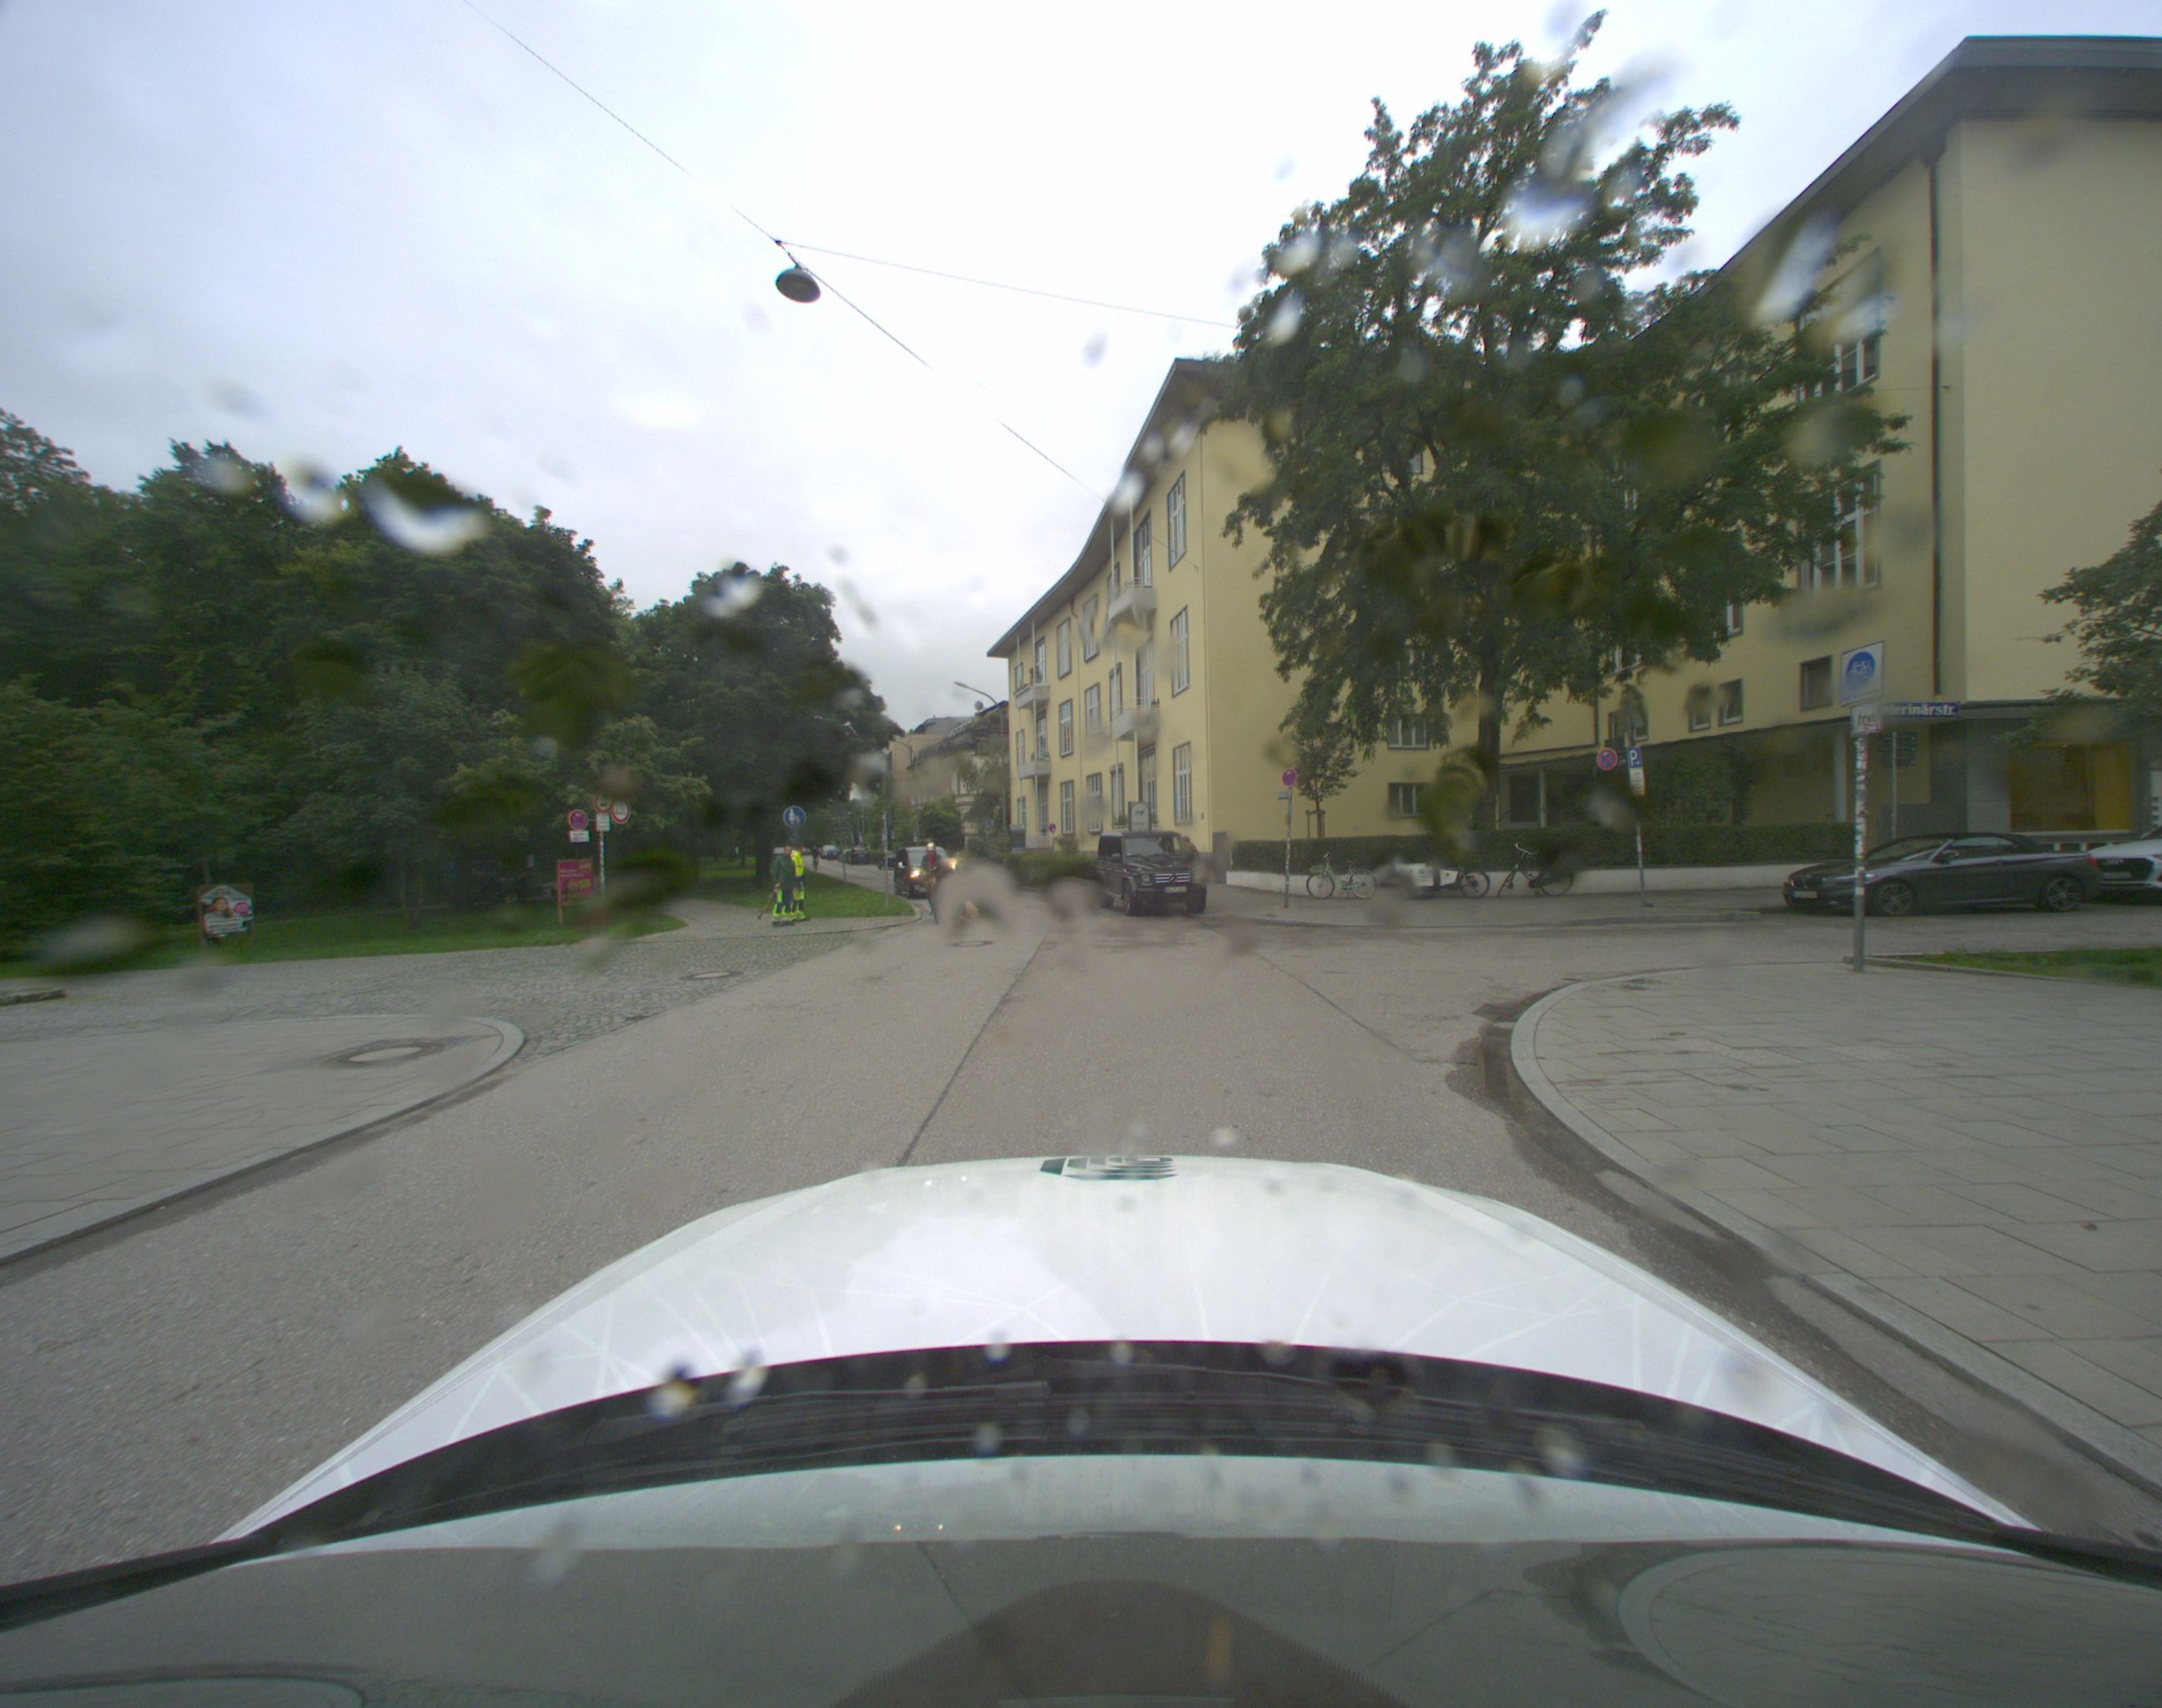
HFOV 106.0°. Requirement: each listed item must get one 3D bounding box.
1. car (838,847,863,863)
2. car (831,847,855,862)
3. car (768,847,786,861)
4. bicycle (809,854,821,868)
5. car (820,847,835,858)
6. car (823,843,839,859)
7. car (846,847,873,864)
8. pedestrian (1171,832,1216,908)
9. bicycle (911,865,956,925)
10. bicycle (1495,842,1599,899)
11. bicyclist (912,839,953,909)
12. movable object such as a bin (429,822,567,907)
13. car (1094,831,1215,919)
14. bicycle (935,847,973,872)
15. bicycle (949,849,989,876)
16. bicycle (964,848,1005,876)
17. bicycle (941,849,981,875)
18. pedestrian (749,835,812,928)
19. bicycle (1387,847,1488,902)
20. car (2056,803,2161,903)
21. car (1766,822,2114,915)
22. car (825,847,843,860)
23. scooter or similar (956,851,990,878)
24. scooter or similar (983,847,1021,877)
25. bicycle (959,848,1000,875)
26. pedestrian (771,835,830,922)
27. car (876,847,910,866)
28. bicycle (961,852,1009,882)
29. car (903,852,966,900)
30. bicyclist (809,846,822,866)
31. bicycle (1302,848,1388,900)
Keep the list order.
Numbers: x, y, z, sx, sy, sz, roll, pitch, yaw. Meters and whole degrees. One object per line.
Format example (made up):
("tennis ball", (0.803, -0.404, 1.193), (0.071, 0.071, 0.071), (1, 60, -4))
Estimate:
("car", (-24.858, 0.093, 87.798), (2.003, 1.606, 3.967), (-2, 0, -25))
("car", (-27.188, 0.051, 92.894), (2.003, 1.606, 3.967), (-2, 0, -25))
("car", (-39.066, 0.036, 104.534), (2.002, 1.691, 3.970), (-3, 1, -23))
("bicycle", (-20.107, 0.511, 61.540), (0.642, 0.967, 1.980), (-2, 1, -22))
("car", (-39.415, -0.238, 126.524), (1.997, 1.606, 3.979), (-2, 0, -15))
("car", (-35.512, -0.462, 115.769), (1.997, 2.159, 3.979), (-2, 0, -15))
("car", (-22.549, 0.136, 82.699), (2.003, 1.606, 3.967), (-2, 0, -25))
("pedestrian", (2.742, 0.377, 19.964), (0.874, 1.823, 0.796), (-1, 1, -10))
("bicycle", (-3.364, 0.897, 18.730), (0.742, 1.215, 2.141), (-2, 1, -4))
("bicycle", (10.351, 0.359, 18.127), (1.912, 1.201, 0.596), (-1, 1, 5))
("bicyclist", (-3.366, 0.441, 18.528), (0.742, 1.521, 0.944), (-2, 1, -5))
("movable object such as a bin", (-23.628, 0.354, 33.122), (1.974, 3.213, 4.026), (-2, 1, 36))
("car", (1.656, 0.431, 19.945), (1.763, 1.874, 4.363), (2, 1, -11))
("bicycle", (-7.032, 0.279, 45.160), (0.725, 1.305, 2.170), (-1, 1, 37))
("bicycle", (-5.871, 0.425, 42.690), (0.725, 1.305, 2.170), (-1, 1, 37))
("bicycle", (-4.817, 0.373, 40.853), (0.725, 1.305, 2.170), (-1, 1, 37))
("bicycle", (-6.387, 0.400, 43.397), (0.725, 1.305, 2.170), (-1, 1, 37))
("pedestrian", (-6.753, 0.594, 18.341), (0.927, 2.013, 0.958), (-1, 1, 6))
("bicycle", (8.104, 0.456, 18.556), (2.049, 1.201, 0.599), (-1, 1, 24))
("car", (20.349, -0.114, 14.376), (4.084, 1.697, 1.742), (-3, -1, 0))
("car", (15.117, 0.257, 14.523), (4.227, 1.446, 1.699), (-2, -1, 4))
("car", (-32.484, -0.093, 107.133), (1.997, 1.606, 3.979), (-2, 0, -15))
("scooter or similar", (-5.591, 0.545, 42.113), (0.725, 1.305, 1.741), (-1, 1, 34))
("scooter or similar", (-3.653, 0.339, 37.799), (0.725, 1.305, 2.169), (-1, 1, 26))
("bicycle", (-5.194, 0.360, 41.718), (0.725, 1.305, 2.170), (-1, 1, 37))
("pedestrian", (-6.638, 0.562, 19.310), (0.927, 2.013, 0.958), (-1, 1, 6))
("car", (-14.946, 0.183, 64.651), (2.002, 1.372, 3.969), (-2, 0, -23))
("bicycle", (-4.567, 0.600, 38.738), (2.165, 1.305, 0.726), (-2, 1, -36))
("car", (-5.223, 0.698, 28.659), (1.917, 1.471, 3.981), (-1, 1, -14))
("bicyclist", (-20.083, 0.119, 61.617), (0.798, 1.470, 0.887), (-2, 1, -23))
("bicycle", (6.472, 0.498, 20.057), (0.599, 1.201, 1.904), (-2, -1, -43))
